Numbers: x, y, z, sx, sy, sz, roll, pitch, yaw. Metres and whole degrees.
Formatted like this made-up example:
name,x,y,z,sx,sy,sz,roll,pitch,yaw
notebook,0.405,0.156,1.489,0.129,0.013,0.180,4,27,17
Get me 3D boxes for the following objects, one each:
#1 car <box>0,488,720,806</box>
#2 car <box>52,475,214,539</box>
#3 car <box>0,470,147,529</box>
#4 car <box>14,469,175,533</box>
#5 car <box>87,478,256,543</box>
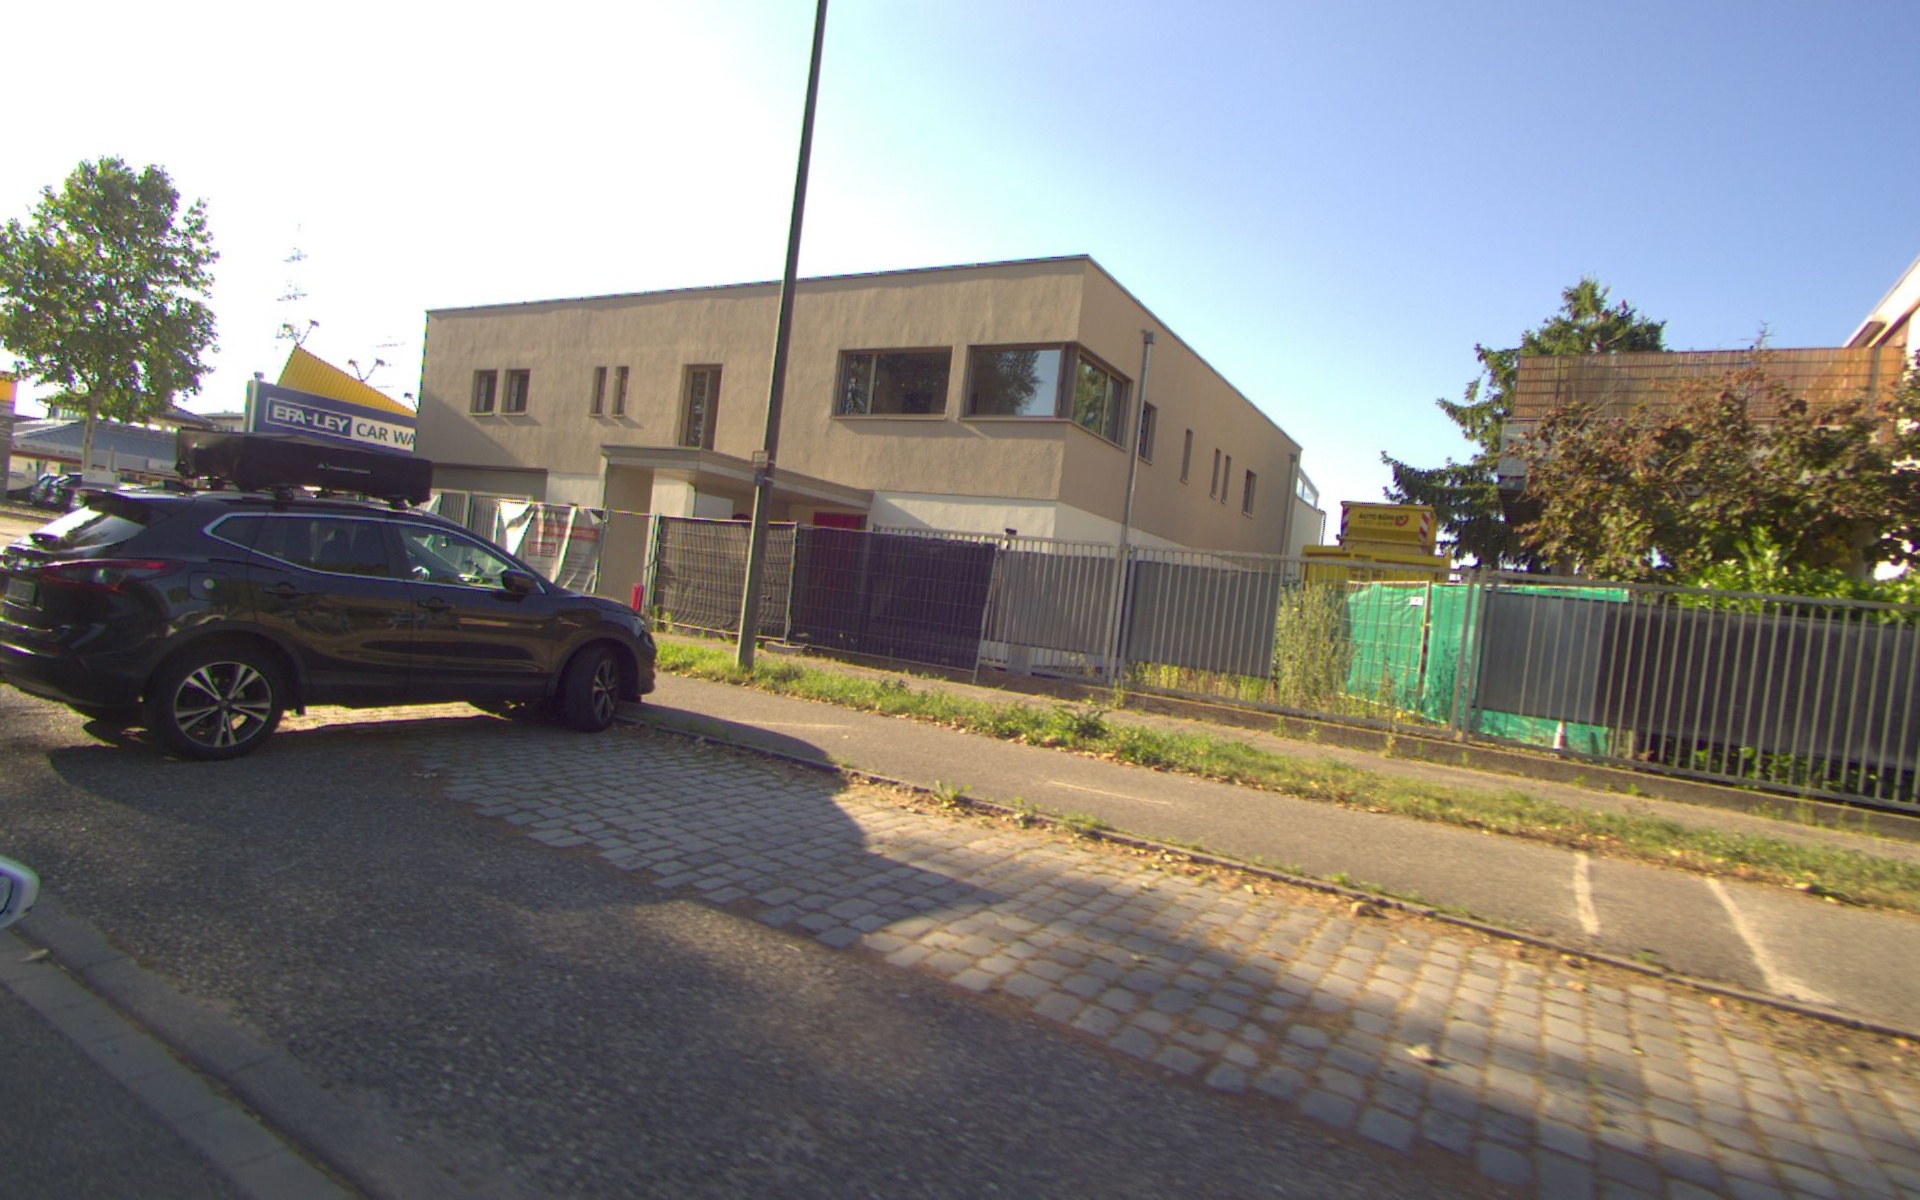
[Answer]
name,x,y,z,sx,sy,sz,roll,pitch,yaw
car,-4.184,0.176,7.501,1.966,1.548,4.625,7,3,29
car,-29.653,-3.307,36.212,1.919,1.537,3.997,7,-1,27
car,-34.429,-3.875,39.003,1.965,1.537,3.997,7,-1,27
car,-32.043,-3.631,37.374,1.965,1.614,3.997,7,-1,27
car,-26.866,-3.020,34.424,1.965,1.515,3.997,7,-1,27
